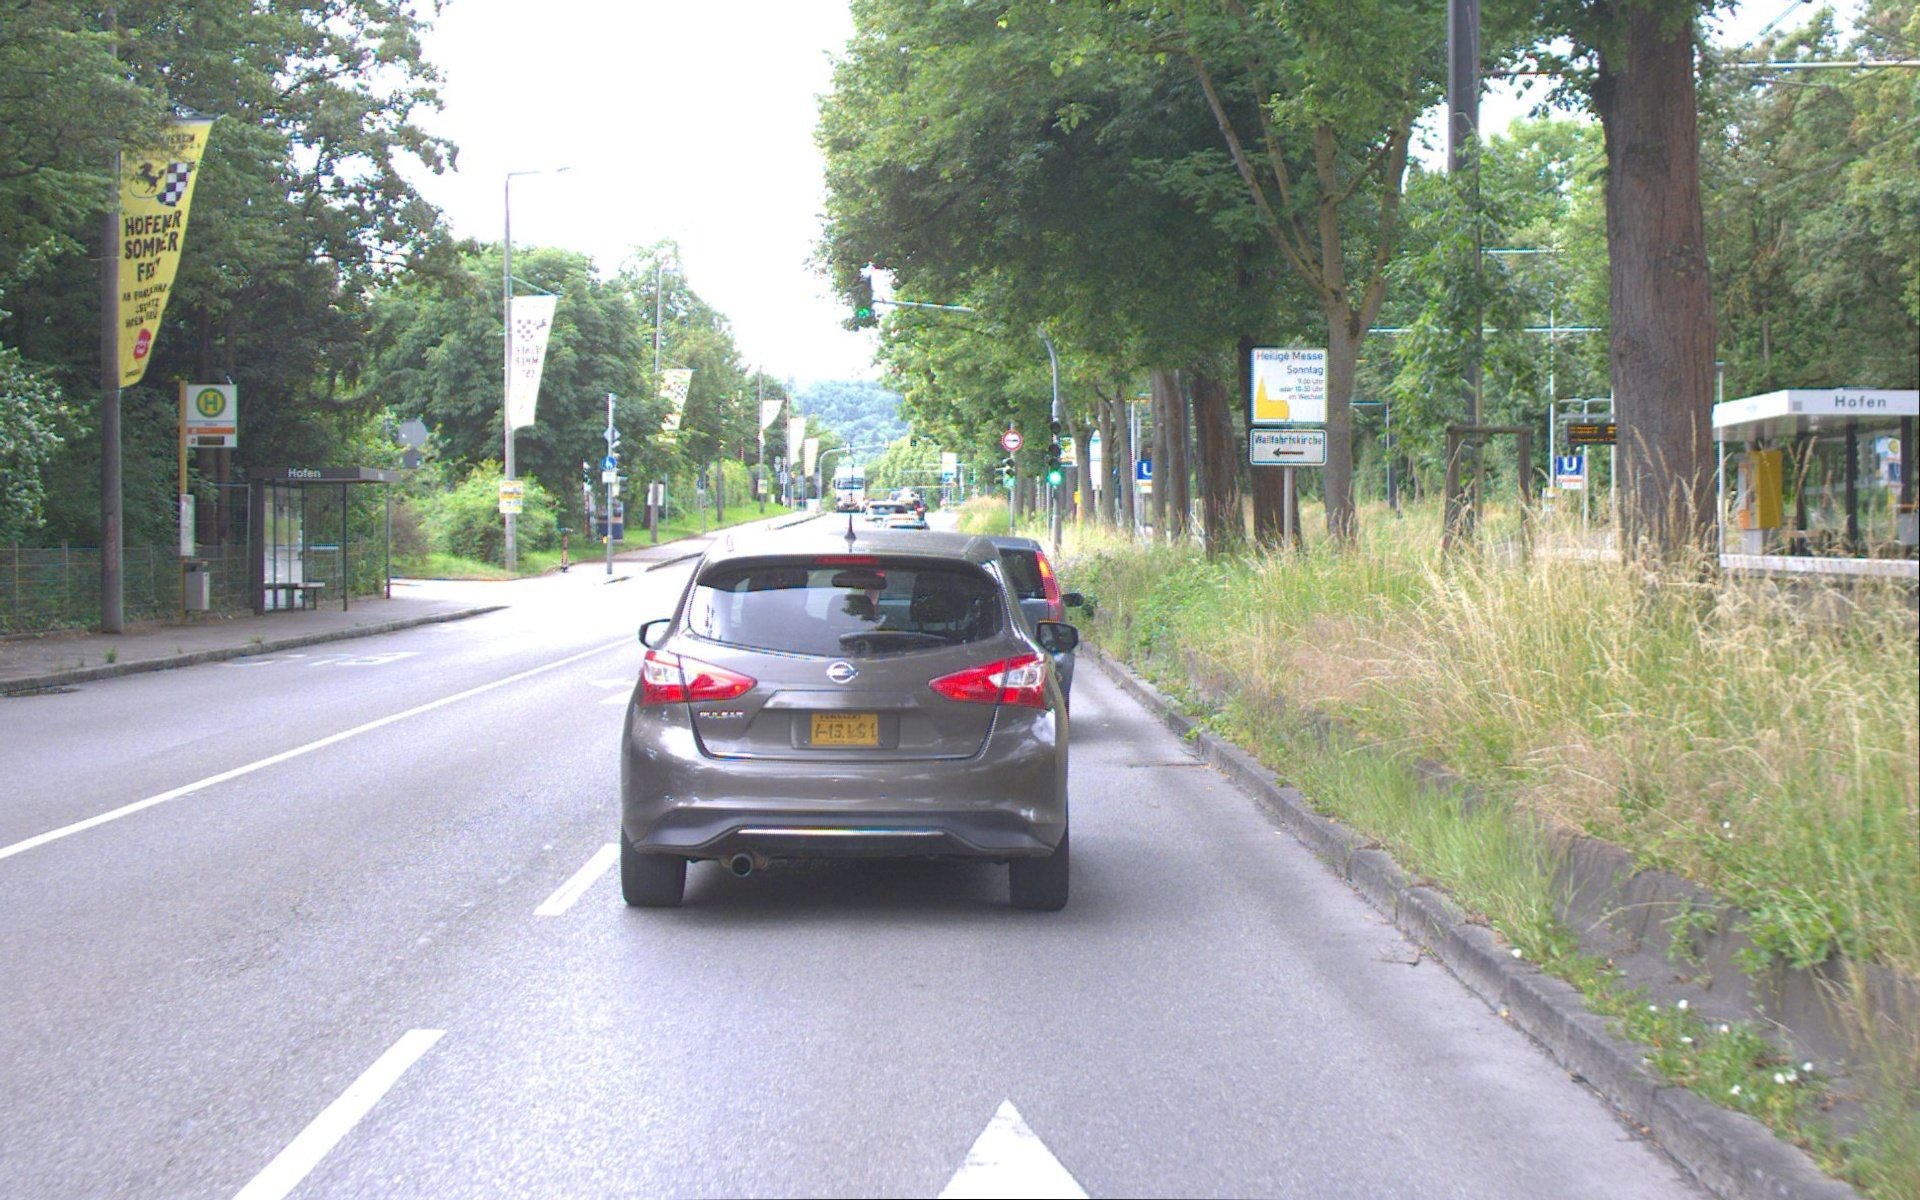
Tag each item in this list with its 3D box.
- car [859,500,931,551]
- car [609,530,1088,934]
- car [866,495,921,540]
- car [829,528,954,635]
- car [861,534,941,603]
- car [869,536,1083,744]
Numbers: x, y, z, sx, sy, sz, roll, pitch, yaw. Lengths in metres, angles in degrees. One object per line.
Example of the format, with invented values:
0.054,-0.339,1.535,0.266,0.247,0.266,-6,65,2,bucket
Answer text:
-1.834,-2.114,98.207,1.993,1.316,4.000,2,1,0,car
-0.421,0.461,14.700,1.783,1.501,3.696,0,1,0,car
-2.495,-3.088,129.826,1.993,1.568,4.000,2,1,-1,car
-0.951,-0.288,48.506,1.691,1.436,3.542,1,1,-1,car
-1.280,-0.708,74.796,1.691,1.436,3.542,1,1,-1,car
0.090,0.251,26.046,1.502,1.436,3.542,1,1,-1,car
